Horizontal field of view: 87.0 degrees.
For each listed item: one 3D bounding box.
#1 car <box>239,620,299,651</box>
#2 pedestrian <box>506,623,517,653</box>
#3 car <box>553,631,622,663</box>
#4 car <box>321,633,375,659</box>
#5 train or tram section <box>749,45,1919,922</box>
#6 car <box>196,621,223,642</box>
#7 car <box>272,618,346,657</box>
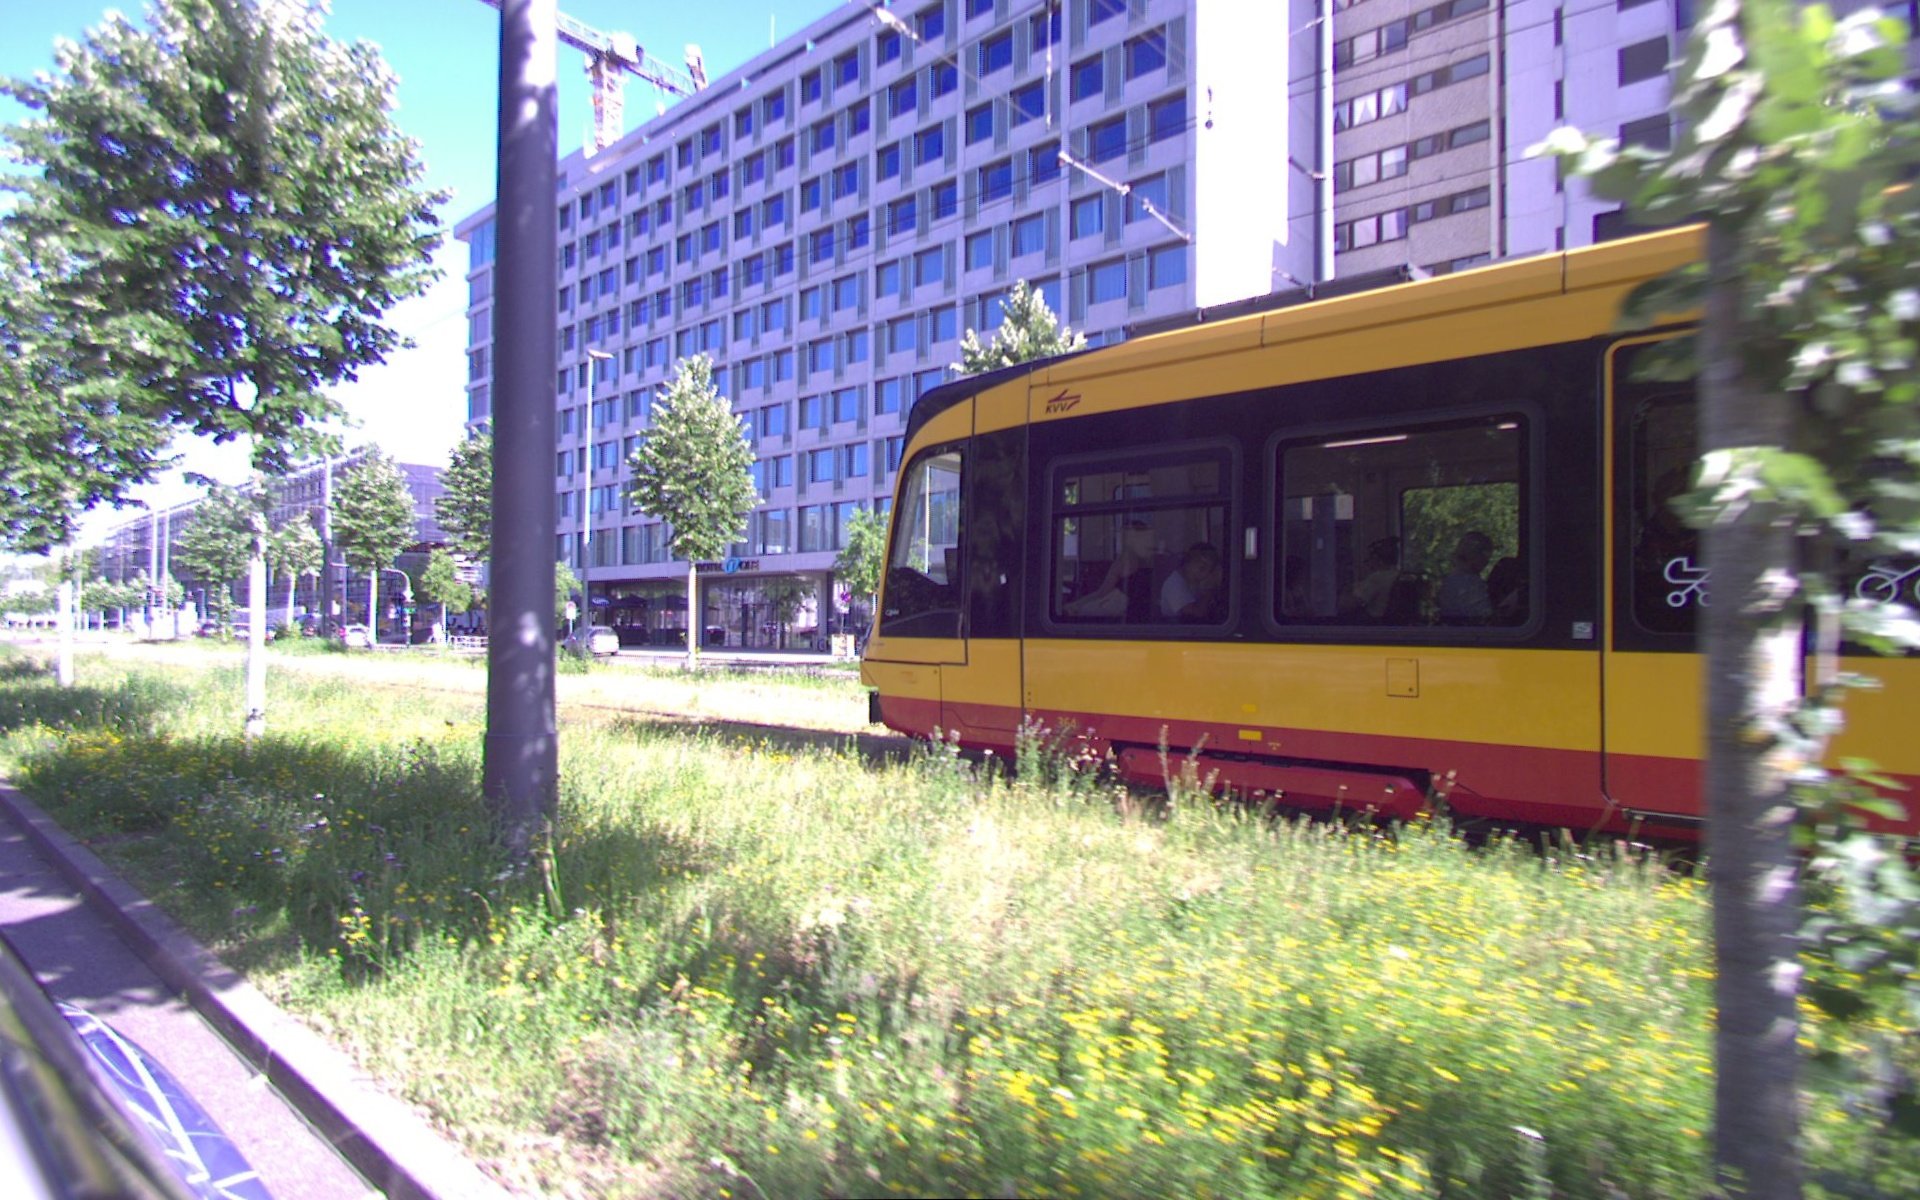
[{"bbox_3d":[-36.827,1.855,53.920,3.998,1.564,1.707,-1,-1,41],"label":"car"},{"bbox_3d":[-28.256,2.392,63.788,0.501,1.854,0.516,0,-1,-38],"label":"pedestrian"},{"bbox_3d":[-19.680,2.461,53.465,3.771,1.561,1.841,-1,-1,41],"label":"car"},{"bbox_3d":[-38.433,2.872,63.531,3.811,1.519,1.804,-1,-1,41],"label":"car"},{"bbox_3d":[4.101,-0.479,5.503,14.140,3.697,1.973,-1,-1,40],"label":"train or tram section"},{"bbox_3d":[-64.508,2.674,87.032,1.749,1.686,3.899,0,-1,-35],"label":"car"},{"bbox_3d":[-31.802,1.792,49.403,4.284,1.833,1.972,-1,-1,42],"label":"car"}]
